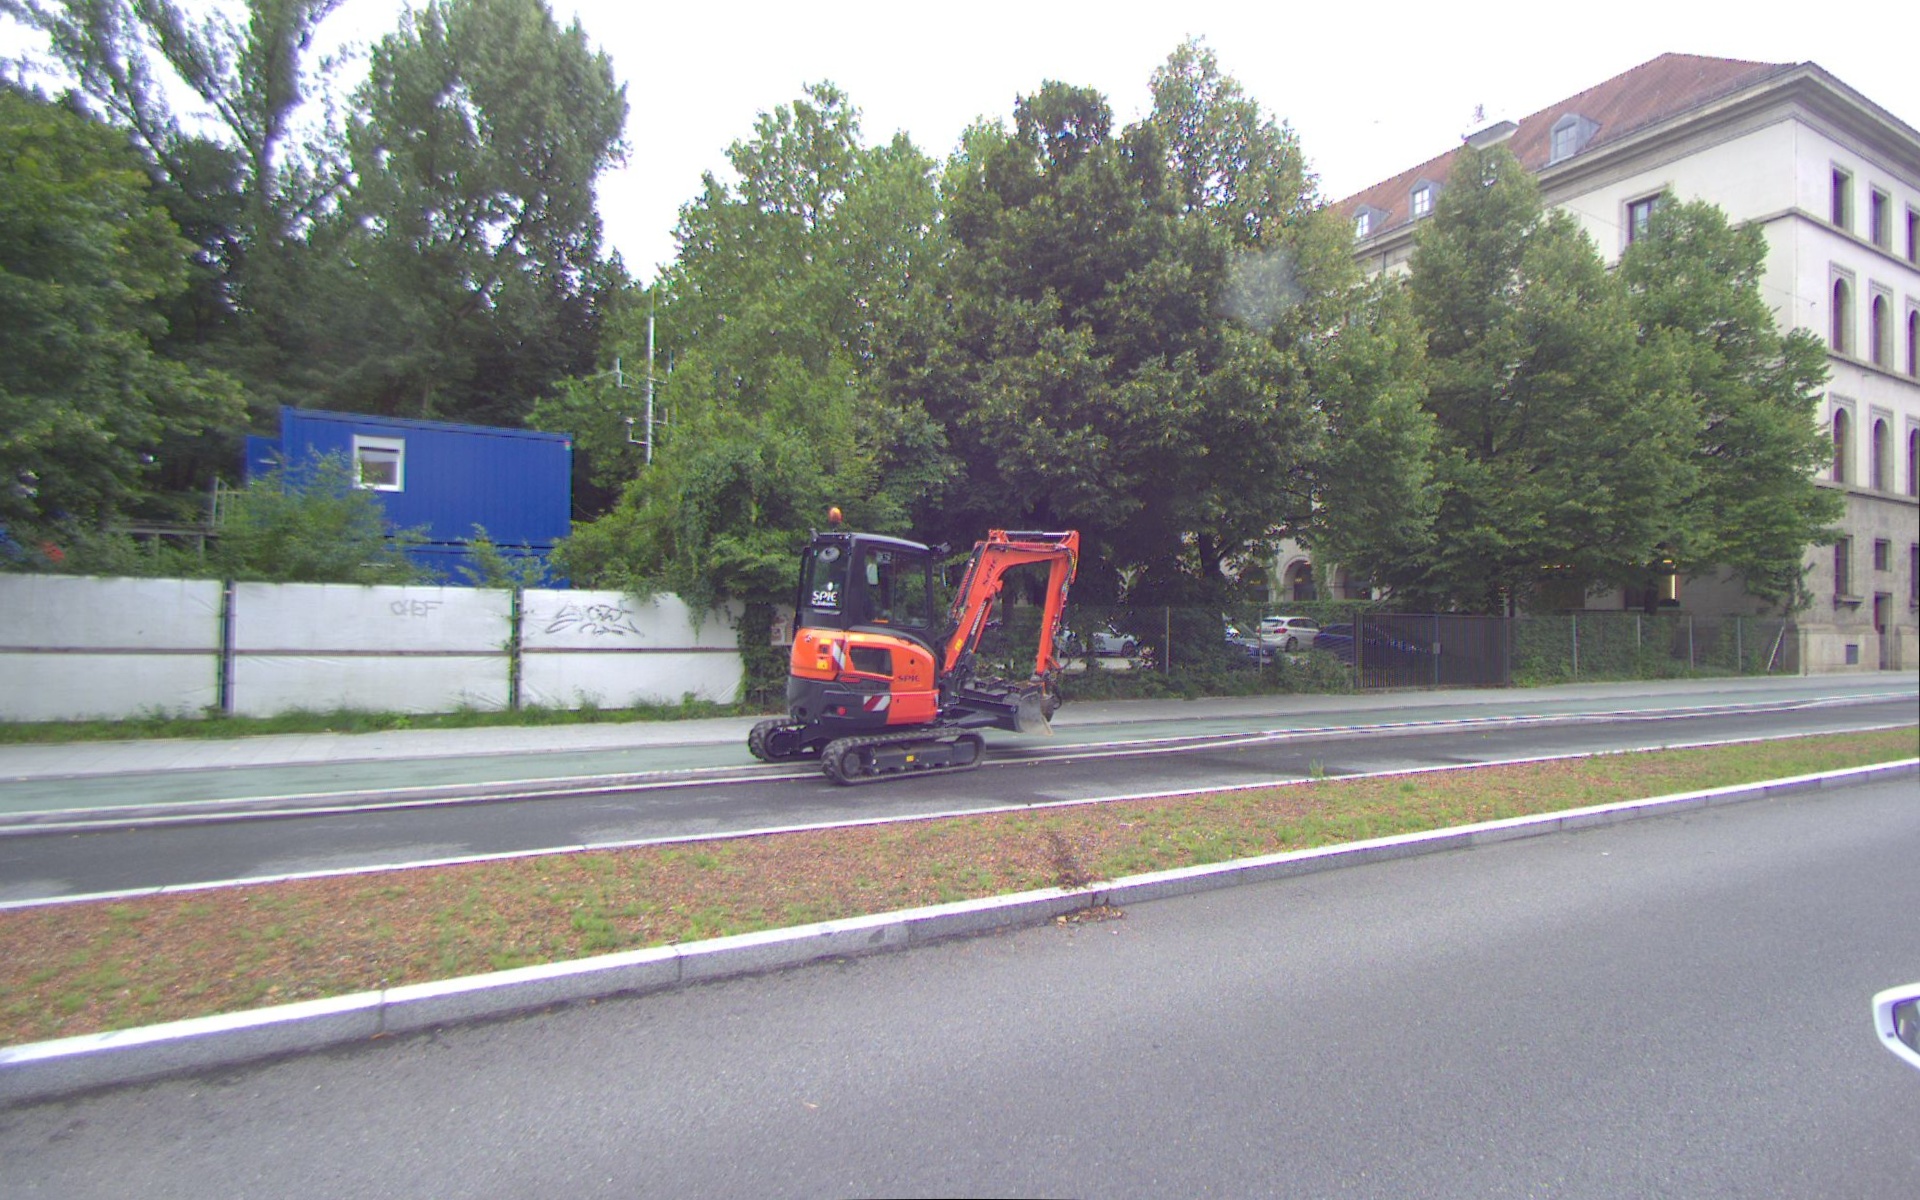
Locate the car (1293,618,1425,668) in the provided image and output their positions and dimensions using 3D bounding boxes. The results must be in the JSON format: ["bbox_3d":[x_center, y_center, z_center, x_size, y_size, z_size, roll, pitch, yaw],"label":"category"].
[{"bbox_3d":[13.456,1.415,34.107,1.815,1.565,3.908,1,-1,-31],"label":"car"}]

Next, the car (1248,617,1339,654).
[{"bbox_3d":[15.051,1.572,45.325,3.895,1.566,1.821,1,0,-31],"label":"car"}]

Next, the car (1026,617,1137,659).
[{"bbox_3d":[4.787,1.454,39.519,4.130,1.566,1.821,1,0,-31],"label":"car"}]

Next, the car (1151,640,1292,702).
[{"bbox_3d":[7.673,2.045,29.769,1.815,1.566,3.908,1,0,-31],"label":"car"}]

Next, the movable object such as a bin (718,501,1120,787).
[{"bbox_3d":[-0.284,0.475,11.774,1.973,2.676,4.636,-1,-2,45],"label":"movable object such as a bin"}]
